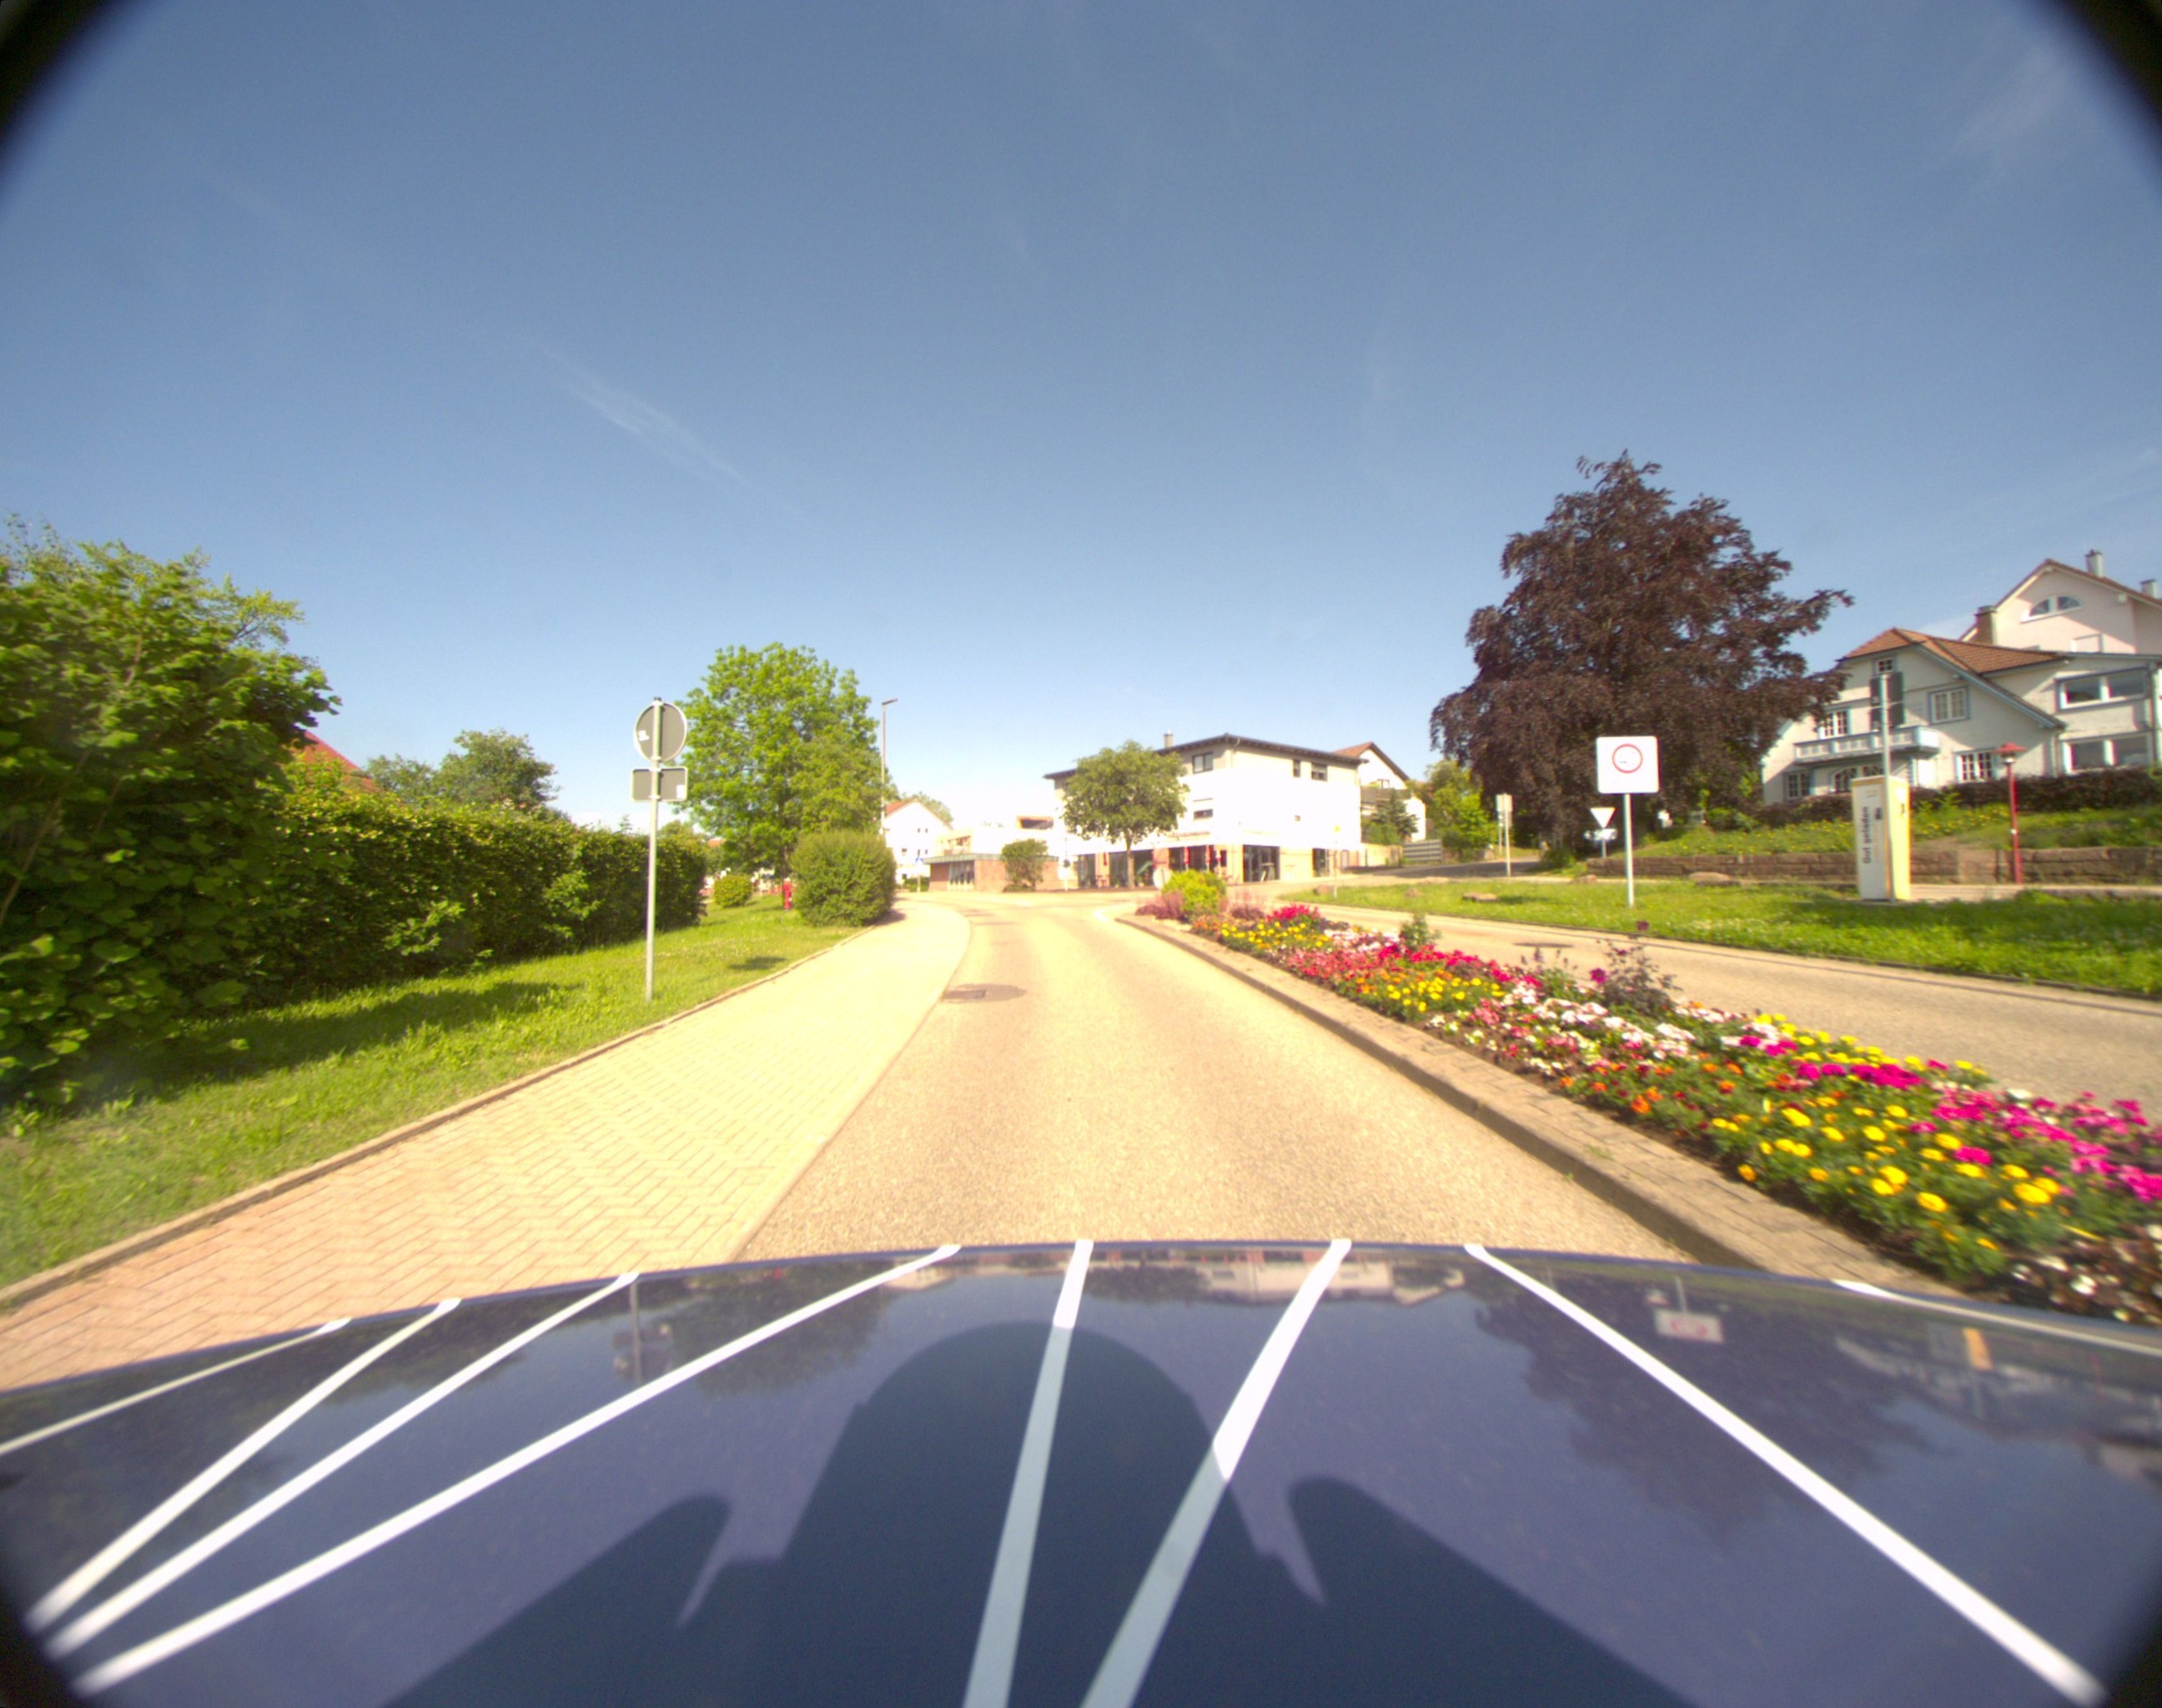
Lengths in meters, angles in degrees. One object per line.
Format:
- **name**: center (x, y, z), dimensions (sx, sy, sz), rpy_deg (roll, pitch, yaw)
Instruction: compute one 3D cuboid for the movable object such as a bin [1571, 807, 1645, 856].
- **movable object such as a bin**: center (32.137, -1.412, 46.256), dimensions (5.113, 2.753, 1.995), rpy_deg (-3, 0, -36)
